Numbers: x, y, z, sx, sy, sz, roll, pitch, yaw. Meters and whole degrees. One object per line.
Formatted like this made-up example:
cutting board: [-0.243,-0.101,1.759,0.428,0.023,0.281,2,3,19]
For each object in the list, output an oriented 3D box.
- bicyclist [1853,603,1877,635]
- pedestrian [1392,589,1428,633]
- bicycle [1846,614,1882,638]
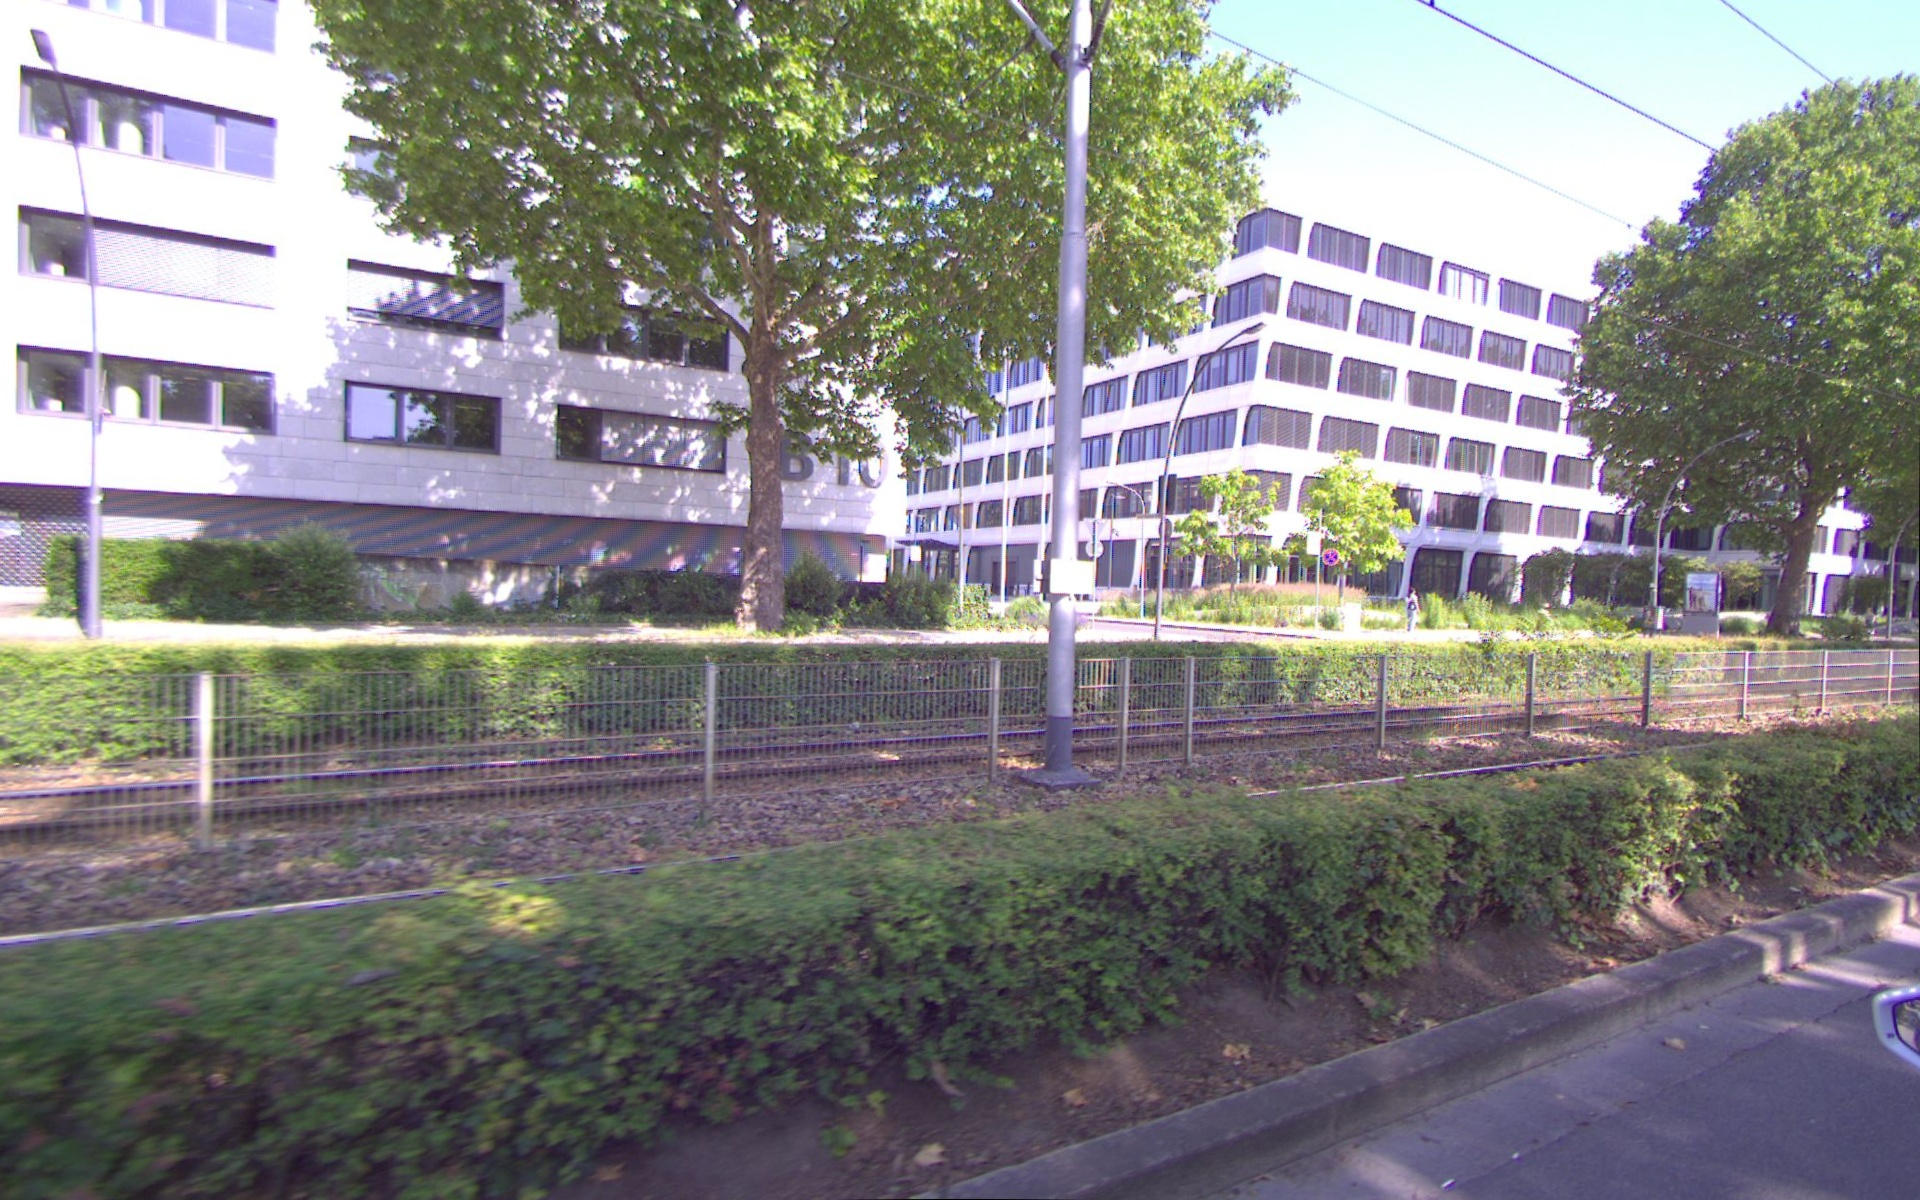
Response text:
bicyclist: [44.696,0.925,49.609,0.633,1.555,0.651,1,2,-28]
pedestrian: [16.835,0.410,37.550,1.002,1.609,0.717,1,2,-29]
bicycle: [44.643,1.278,49.610,2.006,1.139,0.661,1,2,-29]
